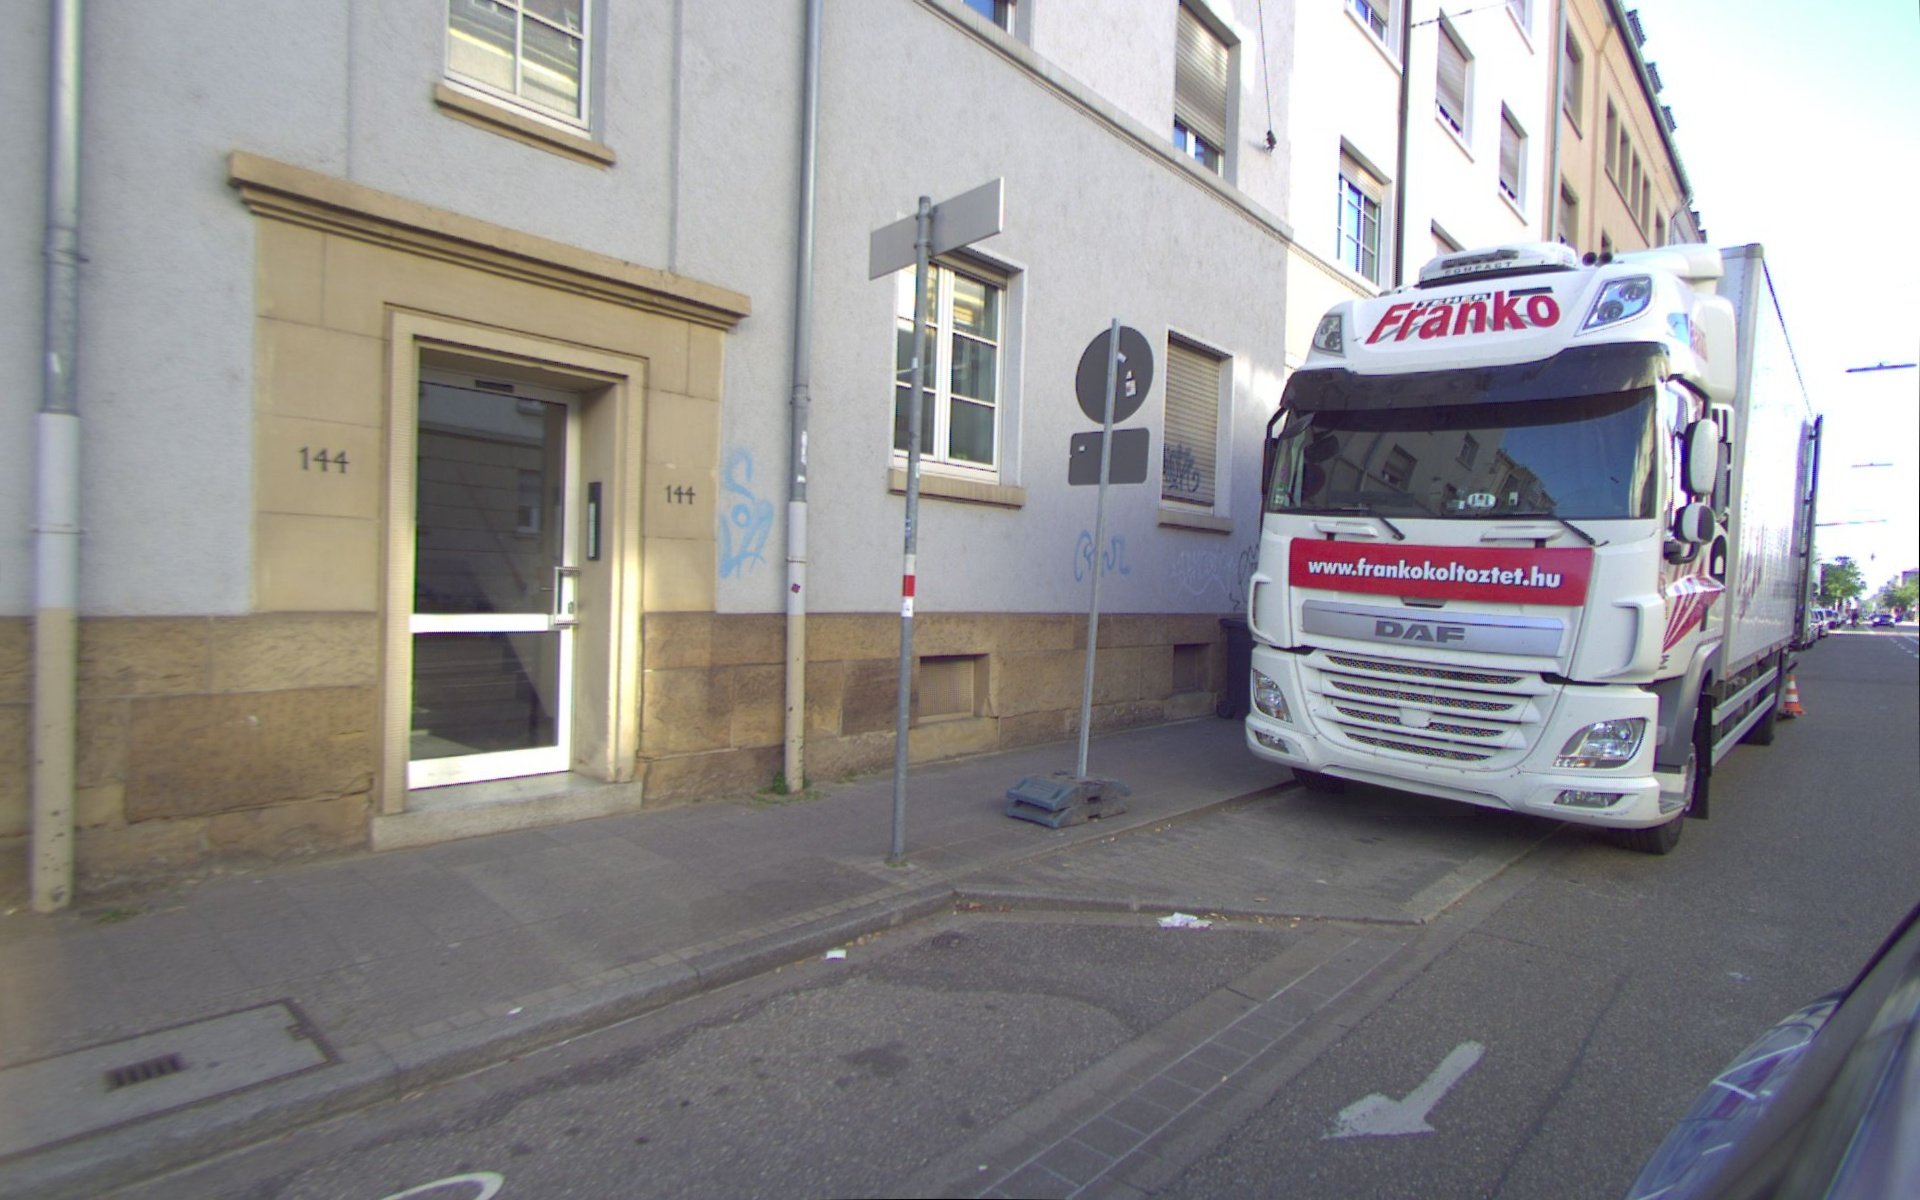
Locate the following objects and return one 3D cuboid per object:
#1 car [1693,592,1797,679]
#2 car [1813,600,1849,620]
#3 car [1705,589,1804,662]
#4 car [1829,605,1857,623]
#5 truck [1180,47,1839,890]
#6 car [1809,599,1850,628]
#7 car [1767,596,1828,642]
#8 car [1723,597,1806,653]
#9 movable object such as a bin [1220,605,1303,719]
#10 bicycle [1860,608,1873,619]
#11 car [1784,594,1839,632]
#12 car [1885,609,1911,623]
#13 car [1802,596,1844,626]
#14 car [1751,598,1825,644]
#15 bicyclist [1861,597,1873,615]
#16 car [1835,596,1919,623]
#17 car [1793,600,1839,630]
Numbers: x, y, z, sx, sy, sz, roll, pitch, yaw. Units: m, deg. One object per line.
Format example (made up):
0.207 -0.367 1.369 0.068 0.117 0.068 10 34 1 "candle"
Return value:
17.057 0.700 21.936 1.590 1.628 4.186 4 2 39 "car"
69.417 0.794 80.623 1.993 1.437 3.669 3 2 43 "car"
20.755 0.605 26.383 1.788 1.672 4.302 4 2 41 "car"
89.368 1.404 102.389 1.993 1.660 3.938 3 2 43 "car"
6.571 -0.669 10.183 2.860 4.124 11.593 3 2 43 "truck"
54.240 0.823 63.088 1.700 1.609 3.302 7 5 43 "car"
34.279 0.731 41.383 1.708 1.714 4.520 4 2 42 "car"
23.844 0.695 29.975 1.609 1.481 3.425 4 2 43 "car"
3.152 0.628 10.568 0.657 1.118 0.534 2 1 40 "movable object such as a bin"
76.896 1.161 85.853 0.742 0.866 1.857 2 1 43 "bicycle"
42.269 0.629 50.189 1.700 1.719 4.120 4 3 45 "car"
99.915 1.716 107.746 1.856 1.394 3.935 2 1 45 "car"
49.463 0.610 58.002 1.698 1.610 3.900 2 1 42 "car"
30.096 0.731 36.736 1.700 1.470 4.139 4 2 44 "car"
77.000 0.541 85.920 0.742 1.508 0.803 2 1 43 "bicyclist"
63.729 0.633 70.162 1.737 1.627 4.299 1 2 -31 "car"
45.988 0.775 54.348 1.699 1.524 3.802 2 1 43 "car"
